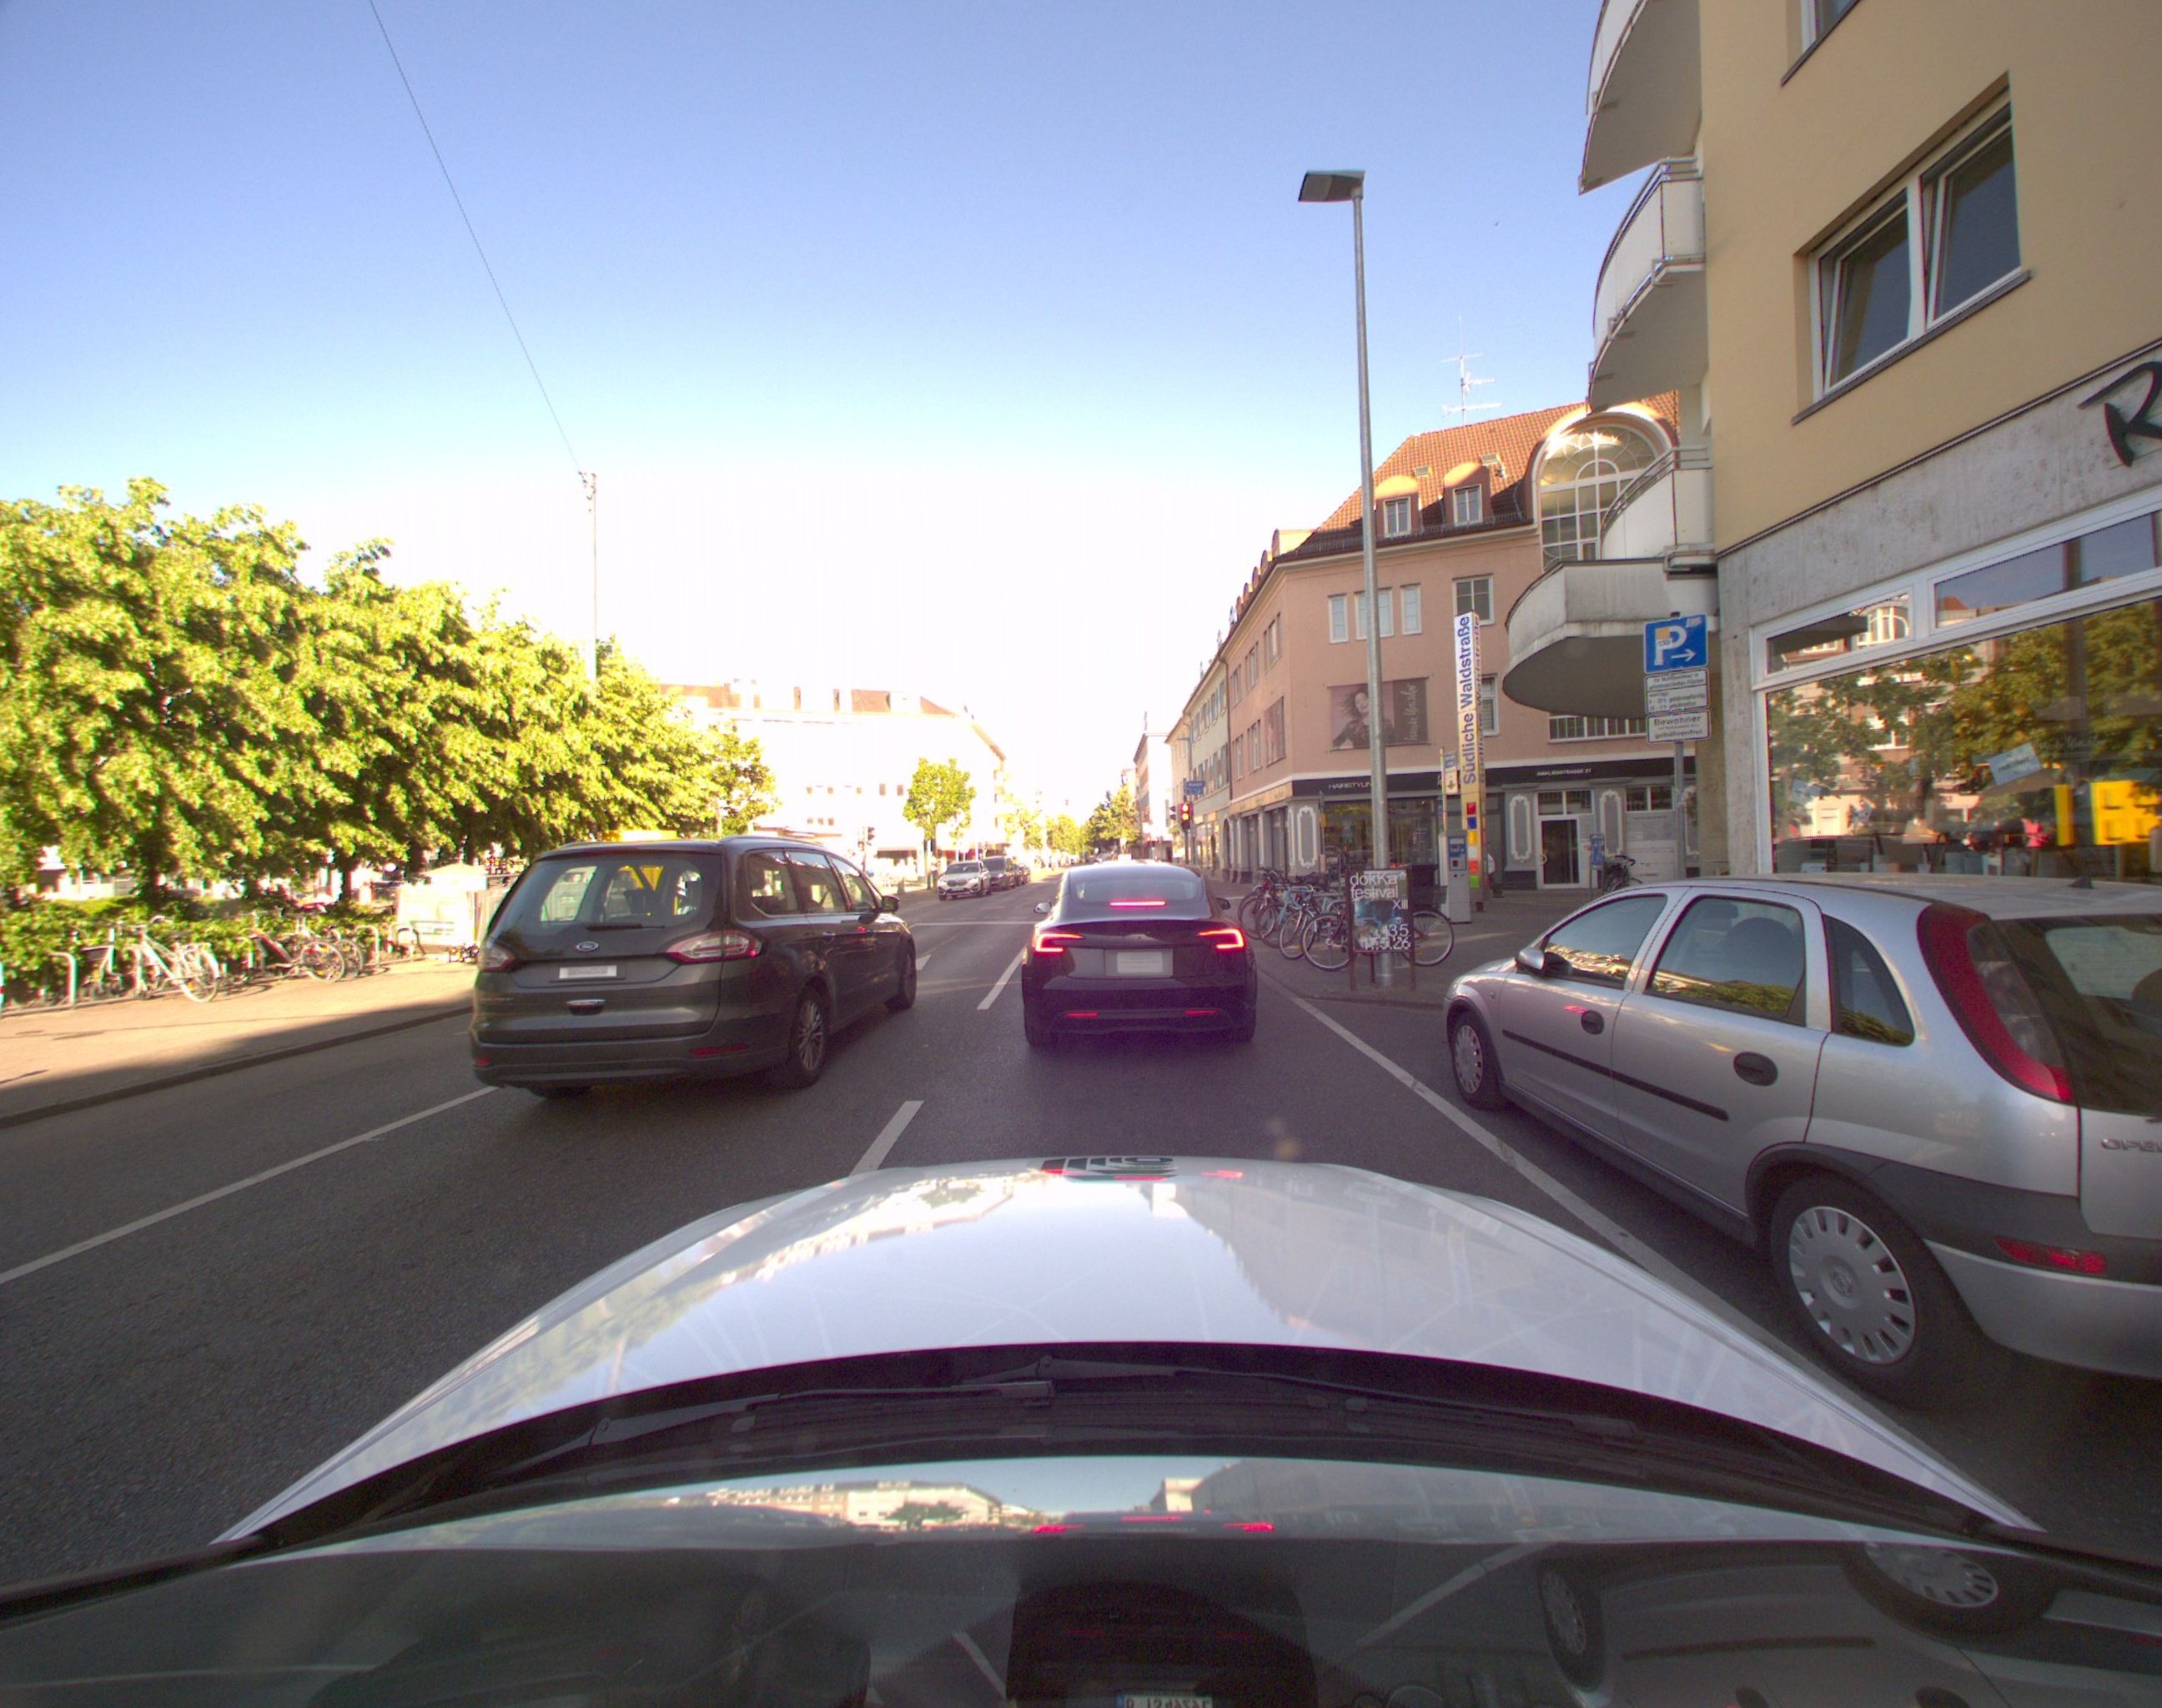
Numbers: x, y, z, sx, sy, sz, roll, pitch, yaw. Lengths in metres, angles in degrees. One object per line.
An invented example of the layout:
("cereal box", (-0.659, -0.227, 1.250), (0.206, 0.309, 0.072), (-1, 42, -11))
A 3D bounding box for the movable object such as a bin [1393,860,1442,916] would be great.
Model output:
("movable object such as a bin", (6.745, 0.671, 16.351), (0.749, 1.092, 0.628), (0, -1, 3))

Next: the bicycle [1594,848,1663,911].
("bicycle", (11.141, 0.493, 16.650), (0.653, 1.199, 2.223), (-2, 0, 21))

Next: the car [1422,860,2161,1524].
("car", (2.972, 0.730, 3.532), (1.607, 1.382, 3.645), (0, 0, 2))

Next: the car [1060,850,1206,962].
("car", (0.742, 0.722, 13.322), (1.987, 1.512, 4.175), (-1, 0, 0))

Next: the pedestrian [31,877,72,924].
("pedestrian", (-45.055, 2.024, 35.645), (1.169, 2.013, 0.937), (-1, 0, 31))

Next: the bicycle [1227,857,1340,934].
("bicycle", (3.624, 0.739, 14.722), (1.851, 1.258, 0.834), (-3, -1, 7))

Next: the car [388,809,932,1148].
("car", (-2.732, 0.681, 6.809), (1.987, 1.772, 4.728), (-2, 0, 1))

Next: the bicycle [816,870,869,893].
("bicycle", (-12.581, 1.437, 43.028), (2.497, 1.156, 0.843), (-1, 0, 0))

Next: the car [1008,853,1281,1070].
("car", (0.500, 0.756, 7.614), (1.841, 1.455, 4.001), (-1, 0, 2))

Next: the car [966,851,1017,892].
("car", (-4.637, 0.866, 42.869), (1.827, 1.845, 4.677), (-5, 0, 2))

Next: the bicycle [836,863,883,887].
("bicycle", (-12.905, 1.245, 47.505), (2.472, 1.324, 0.921), (-1, 0, -4))

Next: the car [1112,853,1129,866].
("car", (4.841, 0.669, 100.855), (1.986, 1.629, 4.002), (-1, 0, 2))

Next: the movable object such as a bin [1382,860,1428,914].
("movable object such as a bin", (6.754, 0.677, 16.989), (0.730, 1.092, 0.628), (0, -1, 3))

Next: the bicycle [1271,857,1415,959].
("bicycle", (3.543, 0.724, 11.161), (1.713, 1.268, 0.792), (-3, -1, 7))

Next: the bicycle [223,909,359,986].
("bicycle", (-11.317, 1.330, 11.678), (1.561, 1.023, 0.430), (-1, 0, 3))

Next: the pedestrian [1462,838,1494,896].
("pedestrian", (10.870, 0.348, 22.287), (0.740, 1.552, 0.703), (-1, 0, 27))

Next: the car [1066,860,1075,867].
("car", (-2.486, 2.175, 187.378), (1.988, 1.637, 3.998), (-1, 0, -1))

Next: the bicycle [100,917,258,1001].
("bicycle", (-11.453, 1.325, 10.359), (1.590, 1.018, 0.430), (-1, 0, 3))

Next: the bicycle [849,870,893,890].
("bicycle", (-12.948, 1.571, 50.263), (2.528, 1.156, 0.841), (-1, 0, -4))

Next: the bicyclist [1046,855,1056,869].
("bicyclist", (-3.504, 0.932, 95.893), (1.123, 1.628, 0.965), (-1, 0, -1))

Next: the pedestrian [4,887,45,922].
("pedestrian", (-62.677, 2.981, 48.317), (1.269, 2.014, 1.284), (-1, -1, 28))

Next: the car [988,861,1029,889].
("car", (-4.361, 1.234, 49.689), (1.988, 1.410, 4.672), (-5, 0, -1))

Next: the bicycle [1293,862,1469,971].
("bicycle", (3.640, 0.751, 10.026), (1.876, 1.193, 0.693), (-3, 0, 7))

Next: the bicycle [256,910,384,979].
("bicycle", (-11.376, 1.347, 12.189), (1.517, 0.958, 0.431), (-1, 1, 3))

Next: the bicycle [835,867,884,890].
("bicycle", (-12.375, 1.365, 45.558), (2.453, 1.156, 0.843), (-1, 0, 0))

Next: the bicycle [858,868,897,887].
("bicycle", (-13.164, 1.516, 52.699), (2.318, 1.156, 0.841), (-1, 0, -4))

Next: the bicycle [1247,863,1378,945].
("bicycle", (3.524, 0.753, 12.514), (1.788, 1.124, 0.783), (-3, -1, 7))

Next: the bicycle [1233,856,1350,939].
("bicycle", (3.508, 0.715, 13.694), (1.738, 1.267, 0.782), (-3, -1, 4))

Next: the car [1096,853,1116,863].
("car", (5.120, 0.862, 167.682), (3.974, 2.013, 2.000), (-1, 0, 0))

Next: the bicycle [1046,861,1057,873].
("bicycle", (-3.478, 1.547, 95.796), (1.108, 1.344, 3.998), (-1, 0, -1))

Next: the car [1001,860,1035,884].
("car", (-4.392, 1.259, 57.286), (1.988, 1.436, 4.672), (-5, 0, -1))

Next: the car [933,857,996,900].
("car", (-4.908, 0.985, 34.946), (1.800, 1.555, 4.312), (-5, 0, 2))
